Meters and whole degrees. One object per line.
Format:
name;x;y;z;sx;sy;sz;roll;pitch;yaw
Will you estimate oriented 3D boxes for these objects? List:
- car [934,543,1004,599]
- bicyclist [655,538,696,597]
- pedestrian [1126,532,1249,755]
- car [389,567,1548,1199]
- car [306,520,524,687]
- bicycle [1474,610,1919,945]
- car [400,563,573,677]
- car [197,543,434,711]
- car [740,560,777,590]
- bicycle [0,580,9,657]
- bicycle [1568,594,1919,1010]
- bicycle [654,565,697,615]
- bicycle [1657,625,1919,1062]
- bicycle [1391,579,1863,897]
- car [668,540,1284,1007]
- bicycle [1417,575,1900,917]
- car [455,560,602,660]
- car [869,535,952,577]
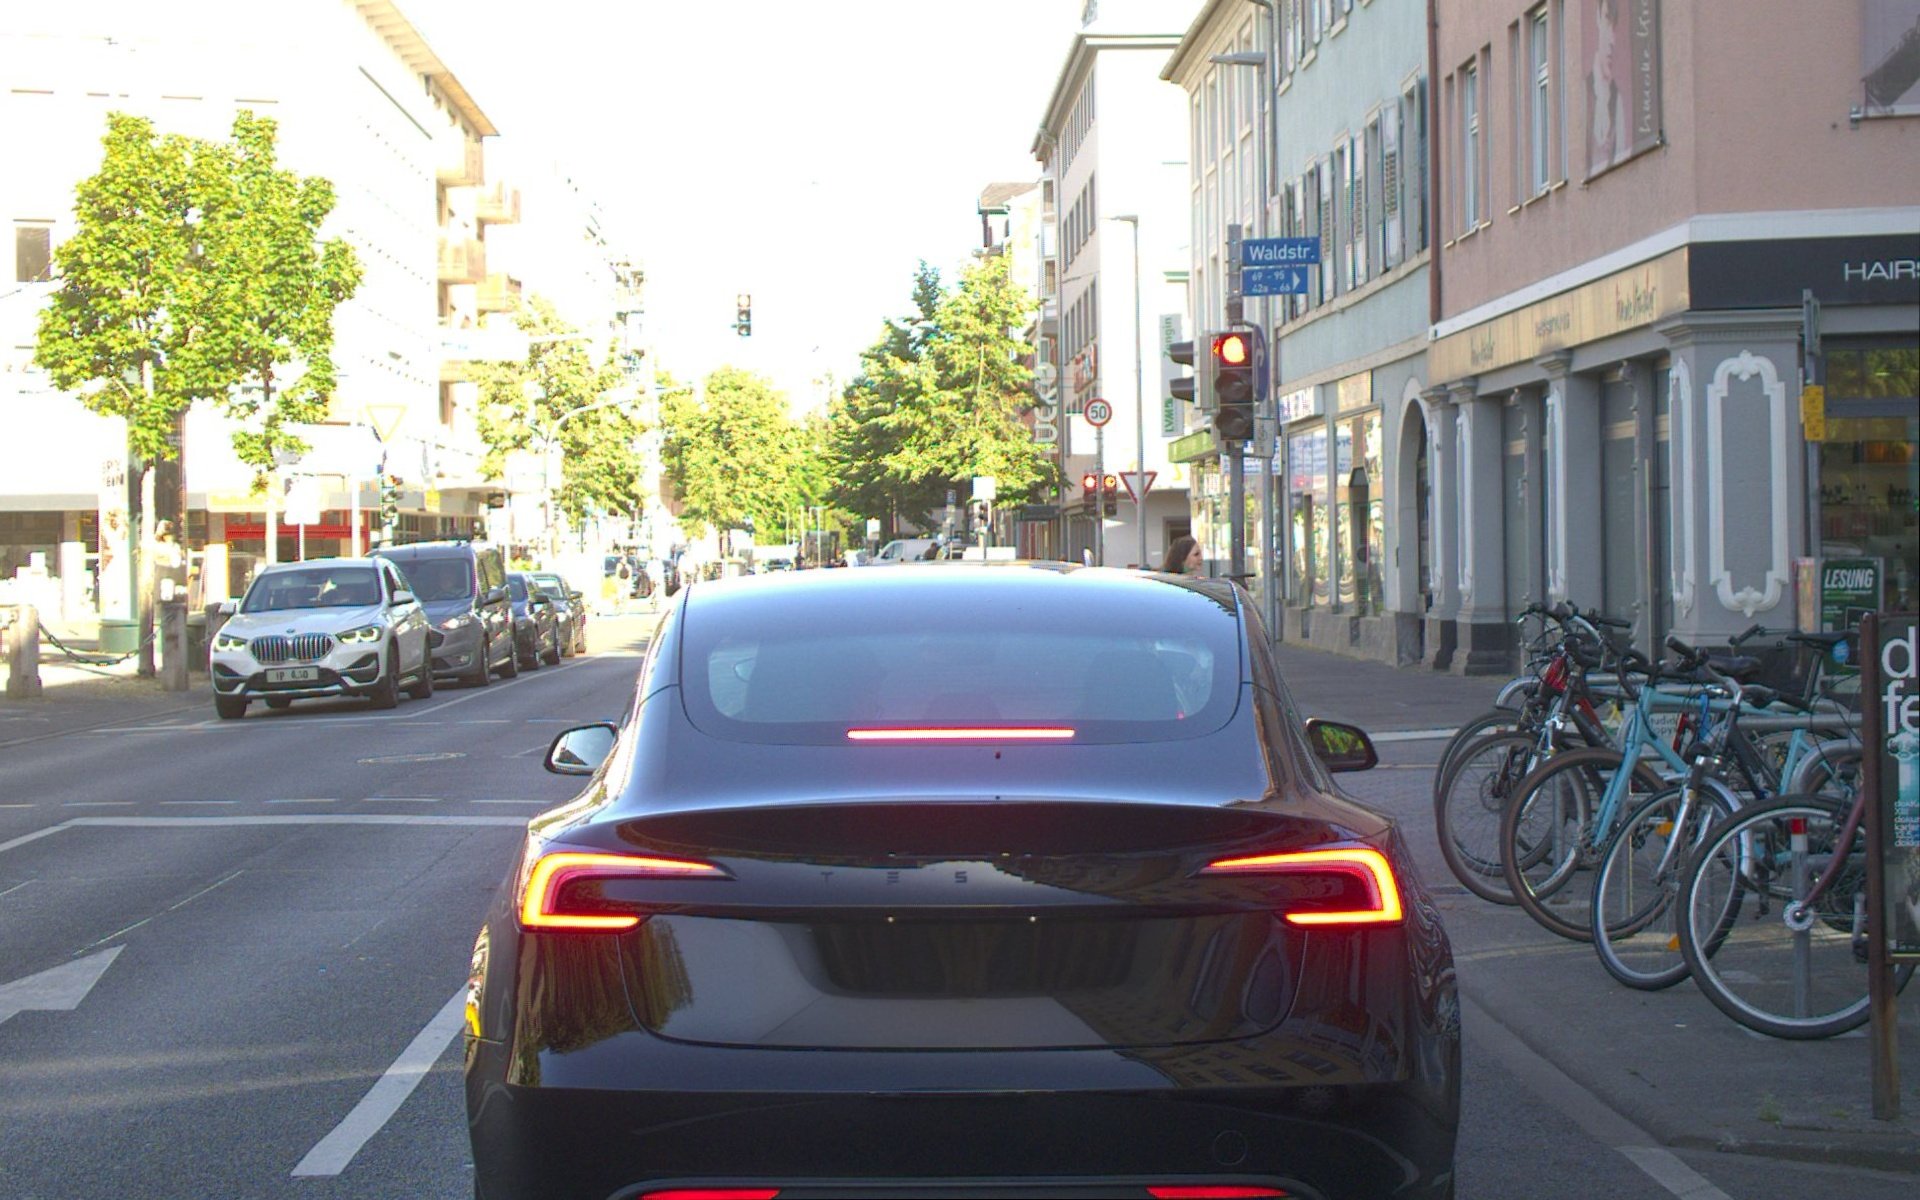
car;0.242;-0.858;100.755;1.993;1.623;4.000;0;1;0
bicyclist;-7.912;-0.908;95.610;1.126;1.623;0.965;0;1;-3
pedestrian;1.595;0.297;24.197;0.747;1.547;0.699;0;1;-7
car;-0.006;0.660;7.497;1.848;1.450;4.000;0;1;-1
car;-6.675;-0.002;42.600;1.834;1.838;4.674;-4;1;0
bicycle;2.810;0.628;12.467;1.798;1.120;0.781;-2;1;5
car;-6.744;0.244;49.429;1.993;1.405;4.675;-4;1;-3
car;-6.748;0.236;36.390;1.807;1.550;4.310;-4;1;-3
car;-10.945;-1.369;187.071;1.993;1.631;4.001;0;1;-3
bicycle;-15.710;0.286;52.227;2.323;1.152;0.843;0;1;-5
bicycle;2.890;0.625;11.115;1.722;1.263;0.790;-2;1;5
bicycle;-7.894;-0.292;95.527;1.111;1.340;4.001;0;1;-3
bicycle;3.036;0.675;9.984;1.886;1.189;0.691;-2;1;5
bicycle;2.813;0.574;14.676;1.862;1.253;0.832;-2;1;5
car;-0.015;0.524;13.205;1.993;1.507;4.176;0;1;-2
bicycle;2.743;0.562;13.645;1.746;1.262;0.781;-2;1;3
car;-7.109;0.126;57.020;1.993;1.431;4.675;-4;1;-3
car;-2.423;-2.149;167.550;3.986;2.007;2.000;0;1;-2
